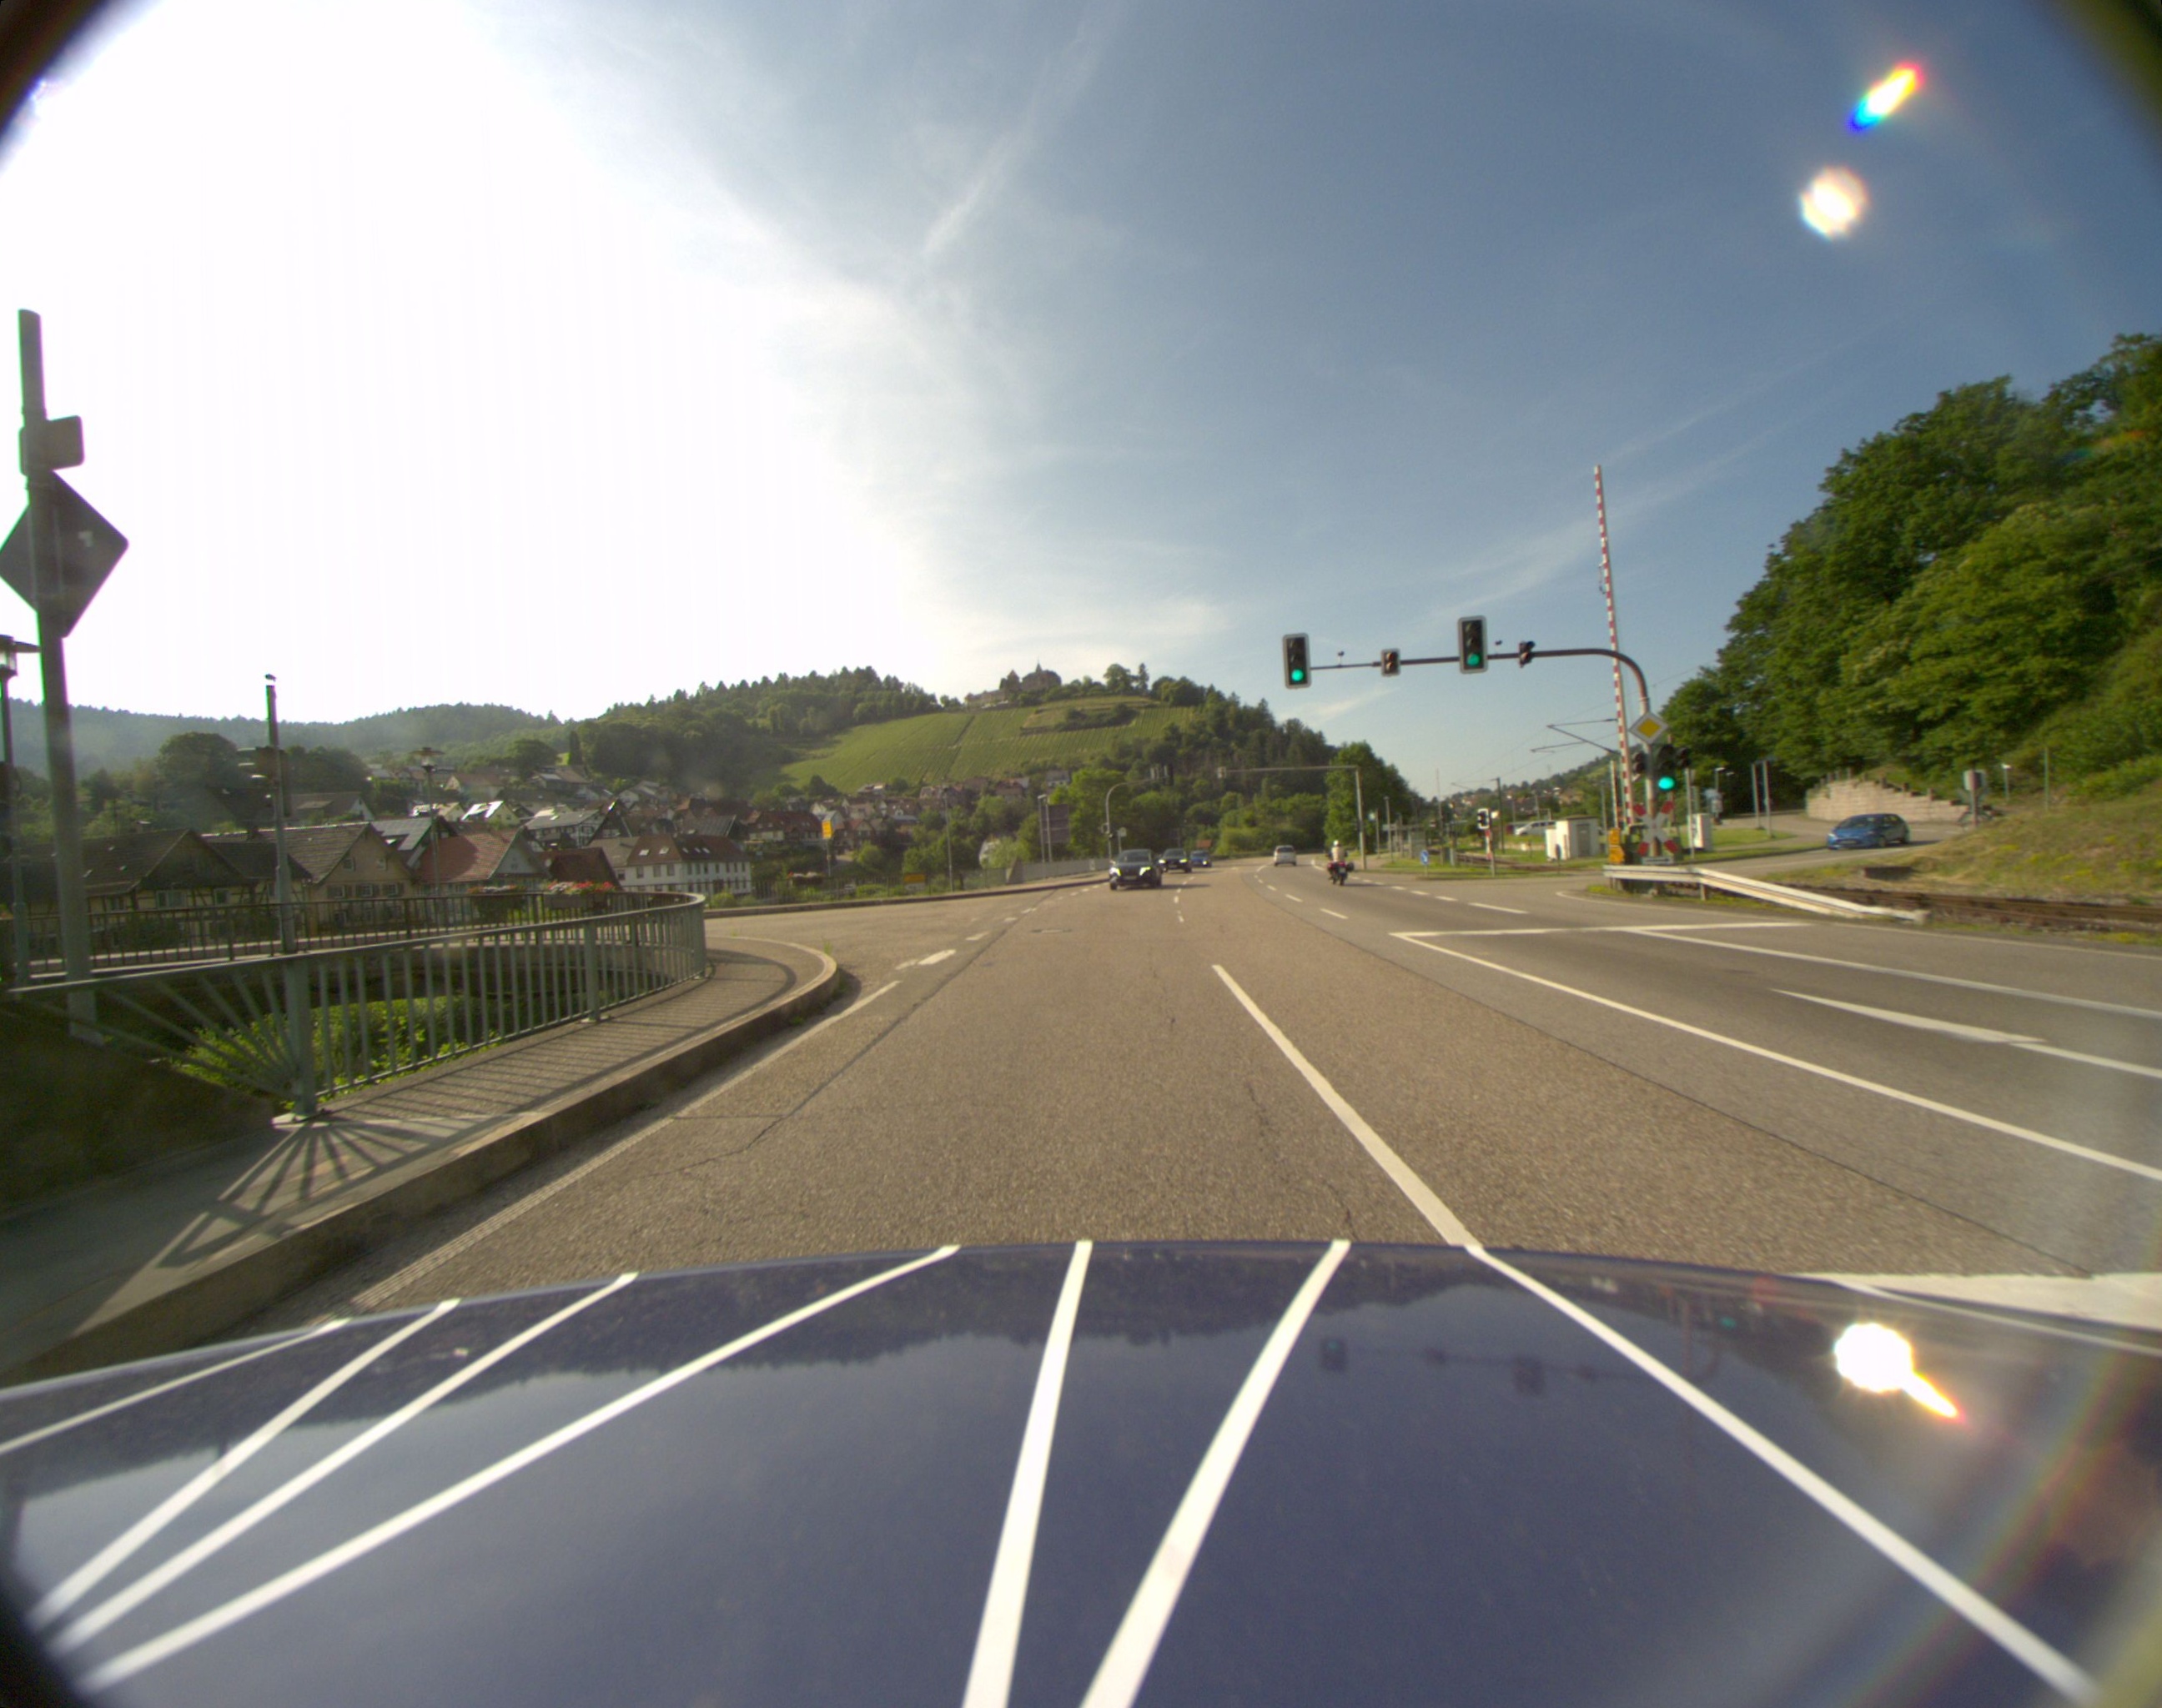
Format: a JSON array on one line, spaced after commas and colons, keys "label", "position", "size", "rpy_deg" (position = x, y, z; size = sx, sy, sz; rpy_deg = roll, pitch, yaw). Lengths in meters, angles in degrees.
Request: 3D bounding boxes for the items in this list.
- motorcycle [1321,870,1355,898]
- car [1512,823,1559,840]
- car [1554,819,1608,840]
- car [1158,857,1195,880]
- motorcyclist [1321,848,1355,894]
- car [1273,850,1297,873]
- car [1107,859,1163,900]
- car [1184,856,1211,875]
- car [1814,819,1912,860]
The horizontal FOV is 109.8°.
[{"label": "motorcycle", "position": [9.759, 1.117, 28.958], "size": [0.826, 0.949, 2.219], "rpy_deg": [-2, 0, 9]}, {"label": "car", "position": [52.663, -2.573, 88.197], "size": [4.443, 1.793, 2.003], "rpy_deg": [-2, 1, 24]}, {"label": "car", "position": [46.967, -2.273, 71.489], "size": [3.990, 1.739, 1.643], "rpy_deg": [-2, 0, 24]}, {"label": "car", "position": [6.430, 0.972, 50.913], "size": [1.996, 1.384, 4.004], "rpy_deg": [-2, 0, 13]}, {"label": "motorcyclist", "position": [9.761, 0.632, 28.872], "size": [1.008, 1.705, 0.866], "rpy_deg": [-2, 0, 8]}, {"label": "car", "position": [16.321, 0.586, 60.785], "size": [1.695, 1.647, 4.175], "rpy_deg": [-2, 0, 15]}, {"label": "car", "position": [2.356, 1.034, 32.310], "size": [1.861, 1.576, 4.003], "rpy_deg": [-2, 0, 11]}, {"label": "car", "position": [9.917, 0.935, 64.442], "size": [1.866, 1.483, 4.004], "rpy_deg": [-2, 0, 14]}, {"label": "car", "position": [34.824, -0.648, 33.827], "size": [4.004, 1.499, 1.890], "rpy_deg": [-5, 1, -27]}]
